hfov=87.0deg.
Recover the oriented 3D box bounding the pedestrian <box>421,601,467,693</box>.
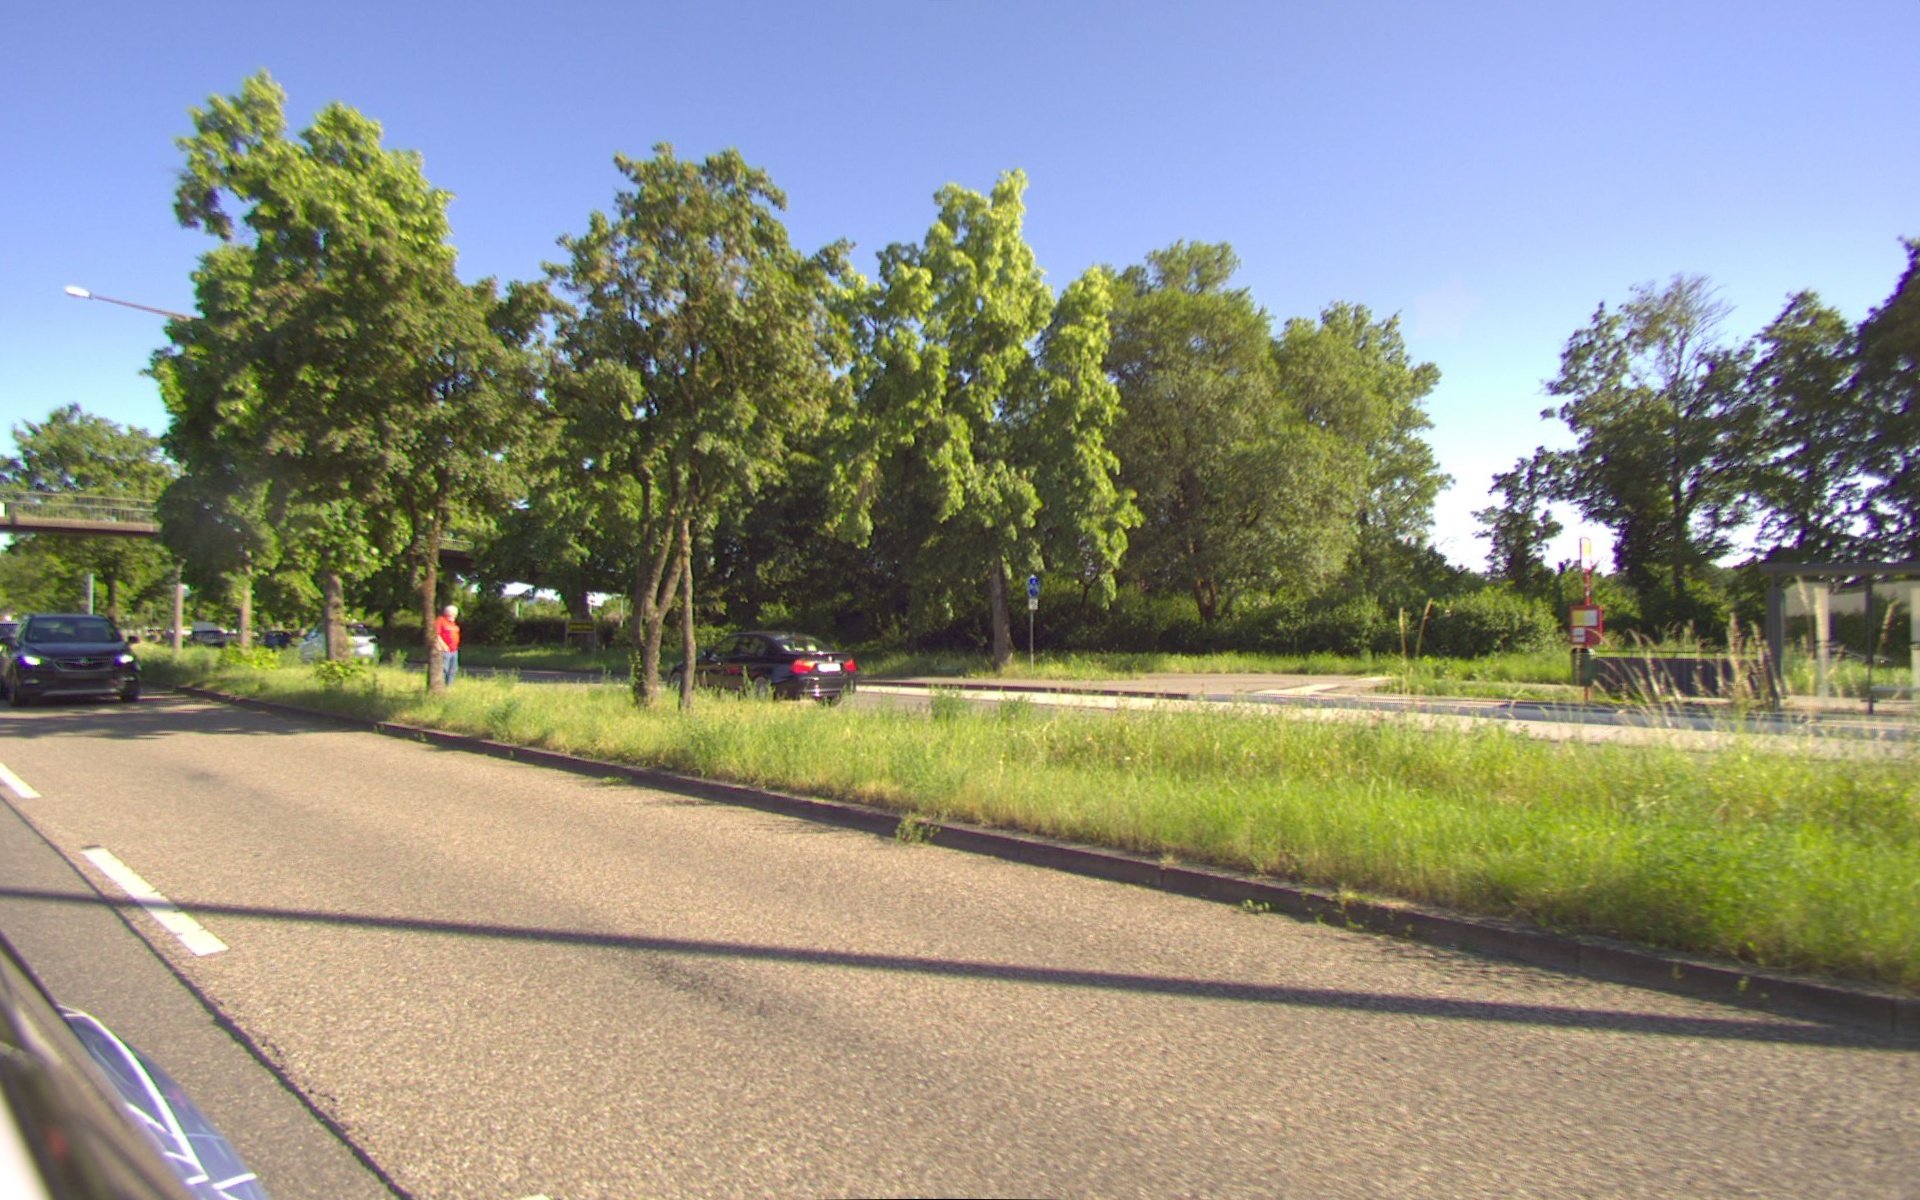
[{"bbox_3d":[-9.832,0.881,19.299,0.621,1.709,0.946,0,-2,-18],"label":"pedestrian"}]

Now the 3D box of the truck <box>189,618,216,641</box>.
[{"bbox_3d":[-89.308,3.549,119.382,2.143,2.532,5.756,4,-4,-35],"label":"truck"}]

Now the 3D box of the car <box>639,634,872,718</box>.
[{"bbox_3d":[-4.082,1.382,19.644,4.976,1.371,1.763,-1,-1,41],"label":"car"}]

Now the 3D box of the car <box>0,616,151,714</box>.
[{"bbox_3d":[-16.794,1.133,18.955,4.512,1.627,1.787,-1,-2,41],"label":"car"}]

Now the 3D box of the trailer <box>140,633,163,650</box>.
[{"bbox_3d":[-89.667,4.587,112.256,1.544,1.925,4.285,2,-3,-44],"label":"trailer"}]

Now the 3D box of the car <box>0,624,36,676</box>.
[{"bbox_3d":[-30.900,1.603,32.482,1.797,1.574,4.651,1,-3,-43],"label":"car"}]

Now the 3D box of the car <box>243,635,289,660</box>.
[{"bbox_3d":[-42.717,2.911,62.255,4.257,1.442,1.522,-2,-4,44],"label":"car"}]

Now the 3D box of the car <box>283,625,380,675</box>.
[{"bbox_3d":[-22.112,1.738,35.566,4.195,1.644,1.712,-2,-3,41],"label":"car"}]

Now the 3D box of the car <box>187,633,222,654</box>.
[{"bbox_3d":[-65.277,3.751,87.382,1.712,1.659,4.903,4,-5,-45],"label":"car"}]

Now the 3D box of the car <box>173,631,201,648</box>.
[{"bbox_3d":[-78.316,4.014,102.562,1.729,1.632,4.582,2,-3,-44],"label":"car"}]
